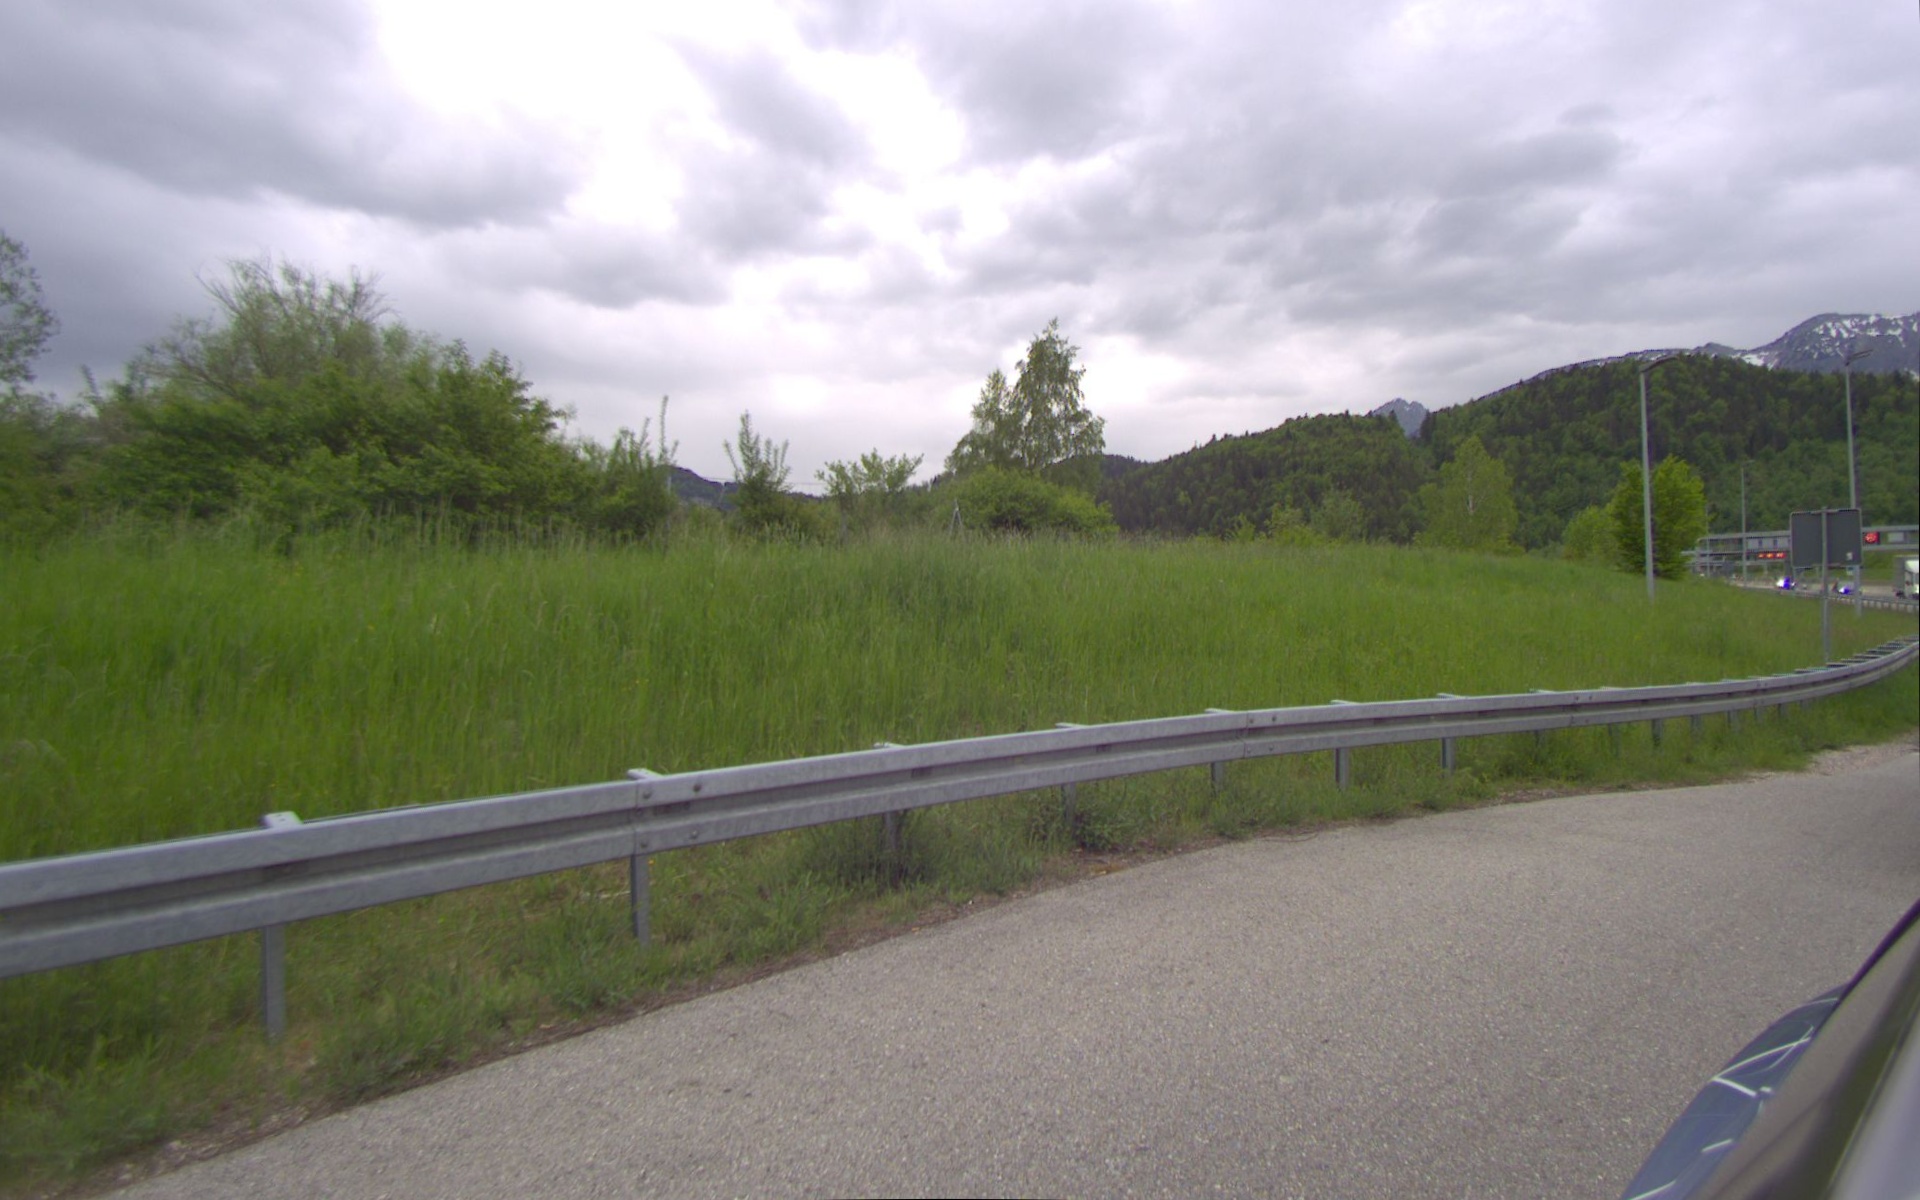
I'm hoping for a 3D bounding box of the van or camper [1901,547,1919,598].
[{"bbox_3d":[66.237,-1.851,68.475,2.566,3.434,7.266,1,1,34],"label":"van or camper"}]

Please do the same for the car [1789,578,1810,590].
[{"bbox_3d":[111.531,-2.128,134.449,1.710,1.659,4.294,1,2,35],"label":"car"}]

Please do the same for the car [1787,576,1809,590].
[{"bbox_3d":[110.481,-2.237,133.400,1.856,1.895,3.950,1,2,35],"label":"car"}]

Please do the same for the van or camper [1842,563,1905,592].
[{"bbox_3d":[87.871,-2.179,97.498,3.321,2.677,8.102,1,2,34],"label":"van or camper"}]
